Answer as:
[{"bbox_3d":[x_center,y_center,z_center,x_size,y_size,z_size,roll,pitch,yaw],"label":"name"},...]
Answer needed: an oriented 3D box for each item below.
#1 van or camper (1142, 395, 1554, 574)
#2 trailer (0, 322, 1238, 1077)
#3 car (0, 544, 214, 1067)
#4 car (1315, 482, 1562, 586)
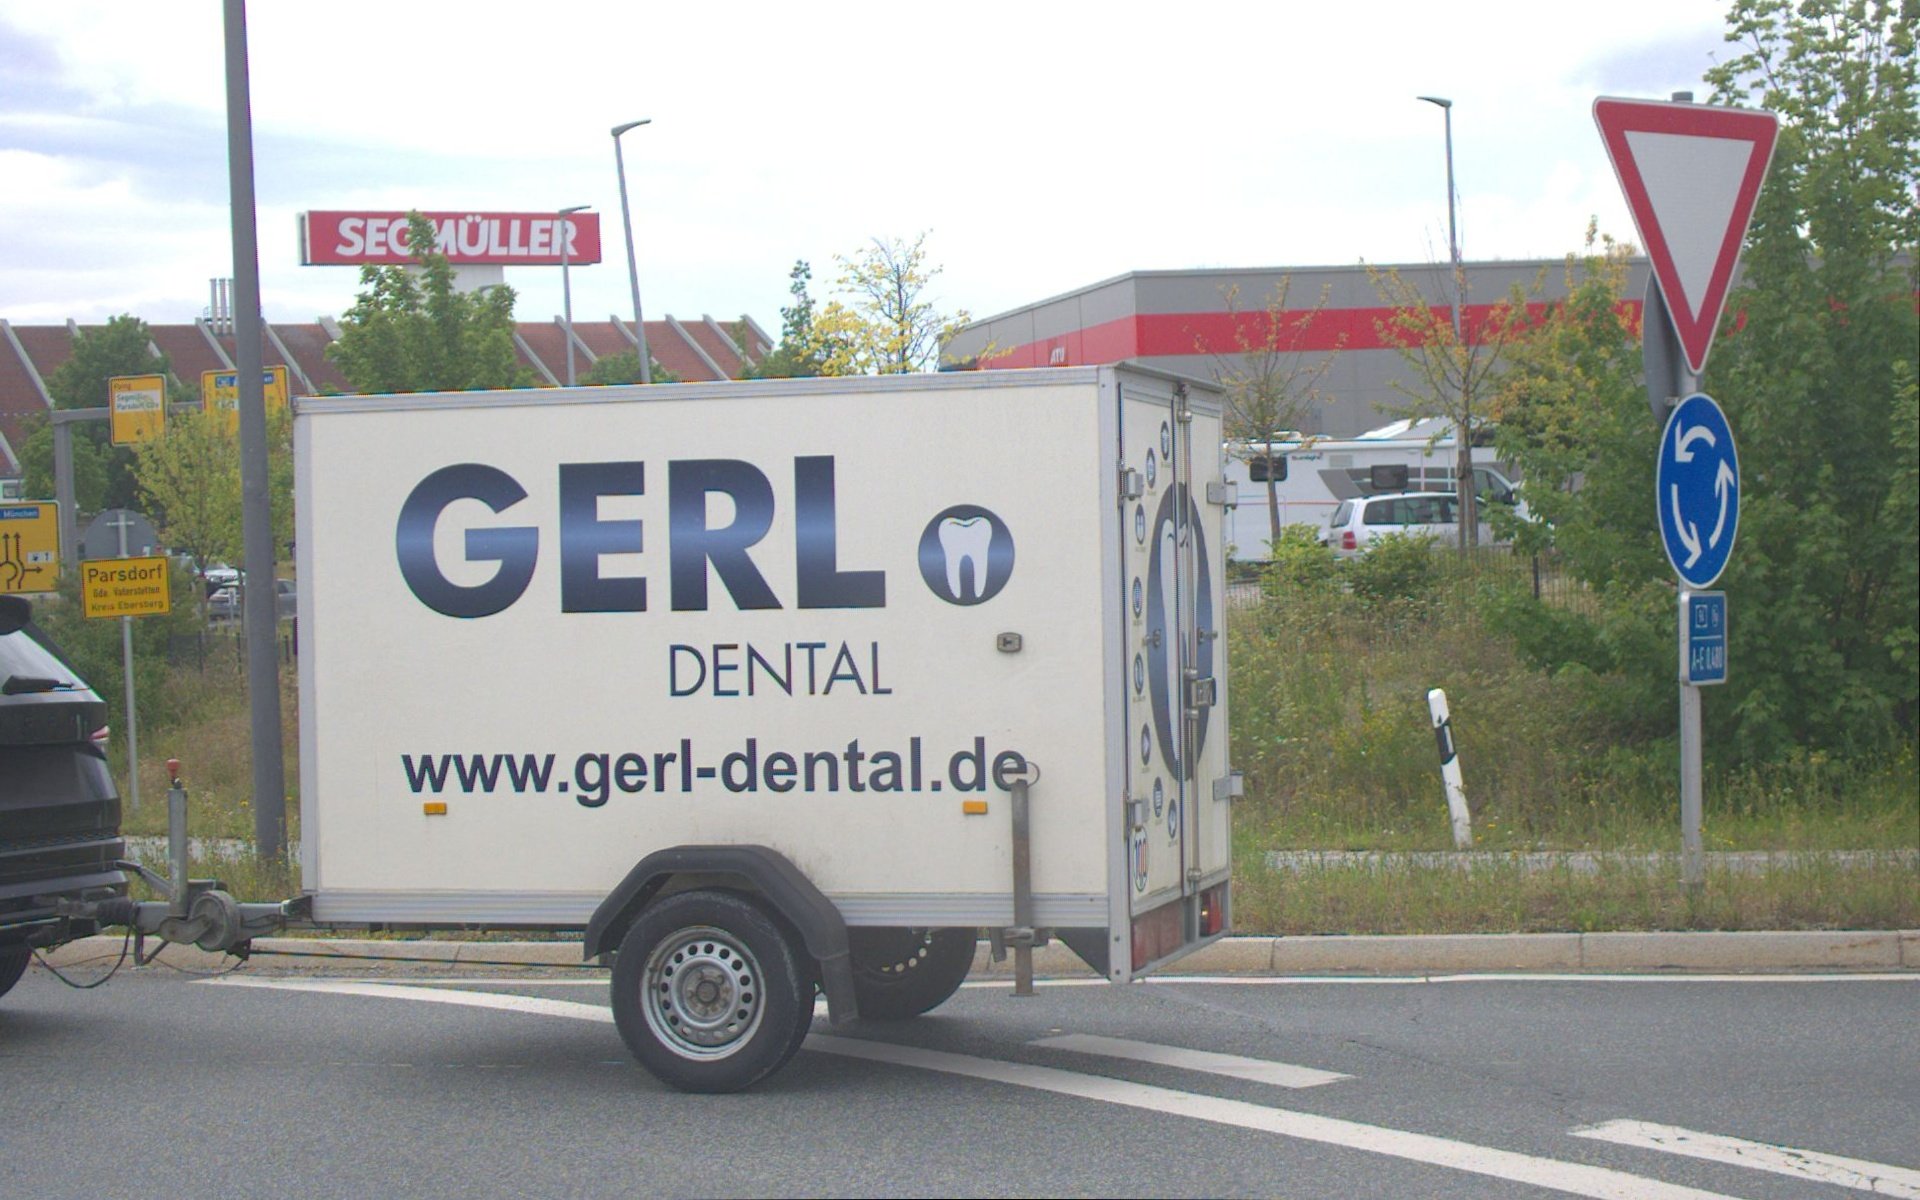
[{"bbox_3d":[7.779,-2.336,69.110,7.712,3.167,2.493,-3,2,-12],"label":"van or camper"},{"bbox_3d":[-1.362,0.311,10.937,4.135,2.084,1.811,-2,1,17],"label":"trailer"},{"bbox_3d":[-5.173,0.727,12.242,4.605,1.664,1.815,-2,2,20],"label":"car"},{"bbox_3d":[8.651,-1.200,62.335,4.048,1.714,1.780,-2,1,-8],"label":"car"}]
